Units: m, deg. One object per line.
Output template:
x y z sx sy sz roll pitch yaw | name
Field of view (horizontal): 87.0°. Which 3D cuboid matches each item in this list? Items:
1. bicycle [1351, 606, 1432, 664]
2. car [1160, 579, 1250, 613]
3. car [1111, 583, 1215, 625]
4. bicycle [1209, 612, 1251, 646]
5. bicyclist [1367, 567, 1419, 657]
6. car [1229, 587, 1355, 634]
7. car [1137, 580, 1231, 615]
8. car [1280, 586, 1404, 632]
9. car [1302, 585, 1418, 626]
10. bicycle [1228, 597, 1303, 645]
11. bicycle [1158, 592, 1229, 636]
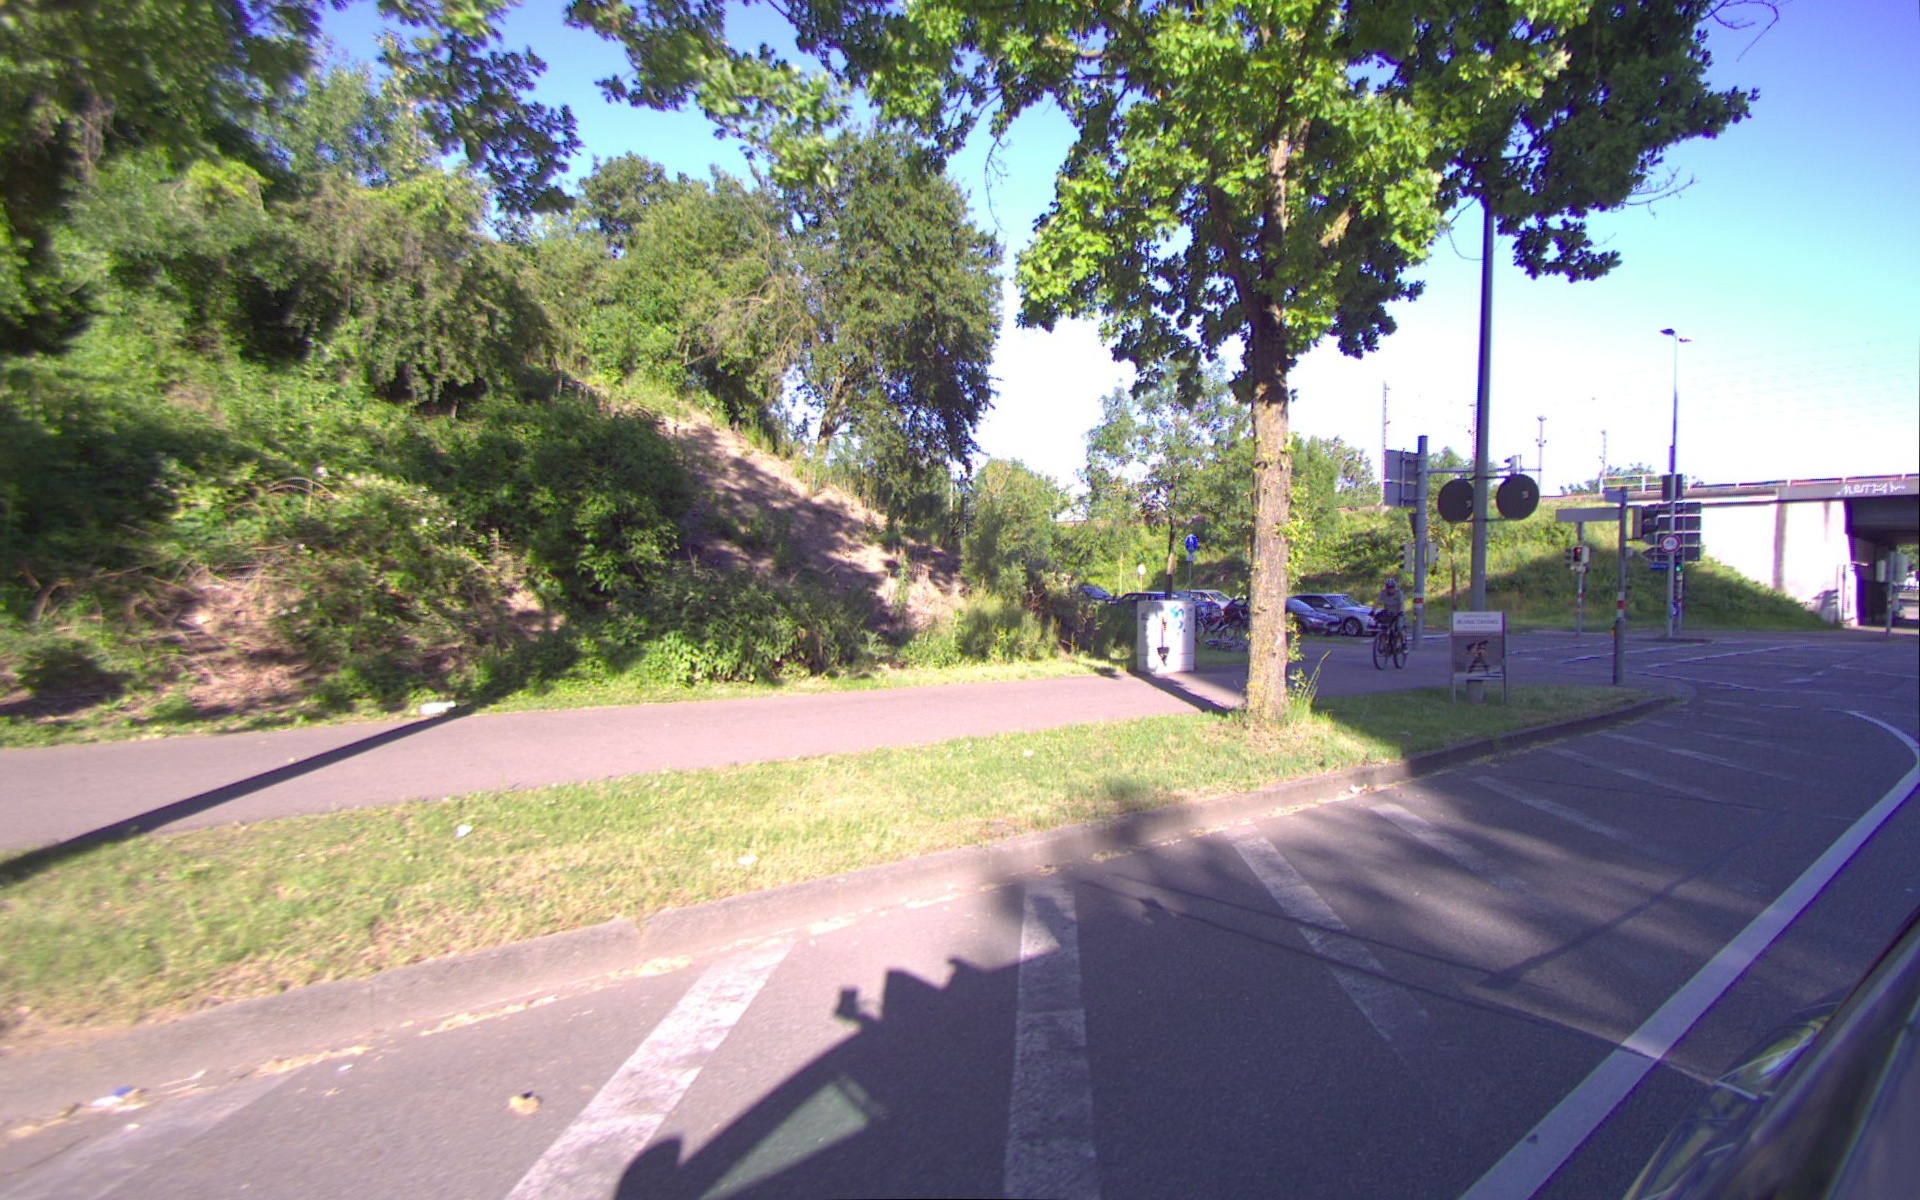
8.041 0.630 18.797 2.011 1.004 0.572 1 1 -42 | bicycle
11.276 -0.211 46.796 1.561 1.450 3.998 -2 2 -37 | car
8.251 0.124 41.325 1.812 1.548 3.912 -3 3 -42 | car
5.953 0.619 22.385 0.830 0.629 2.186 3 1 14 | bicycle
8.023 0.210 18.756 0.850 1.630 0.566 0 1 -42 | bicyclist
11.838 0.315 36.285 1.772 1.493 3.999 -1 2 -36 | car
9.652 -0.144 43.853 1.468 1.376 3.998 -2 2 -37 | car
14.070 0.285 37.422 1.782 1.493 4.000 -1 2 -35 | car
15.930 0.191 40.504 1.783 1.450 3.999 -1 2 -36 | car
7.400 0.484 24.634 0.445 1.066 1.999 0 1 -28 | bicycle
6.669 0.385 29.055 0.685 1.119 2.267 3 0 -26 | bicycle
